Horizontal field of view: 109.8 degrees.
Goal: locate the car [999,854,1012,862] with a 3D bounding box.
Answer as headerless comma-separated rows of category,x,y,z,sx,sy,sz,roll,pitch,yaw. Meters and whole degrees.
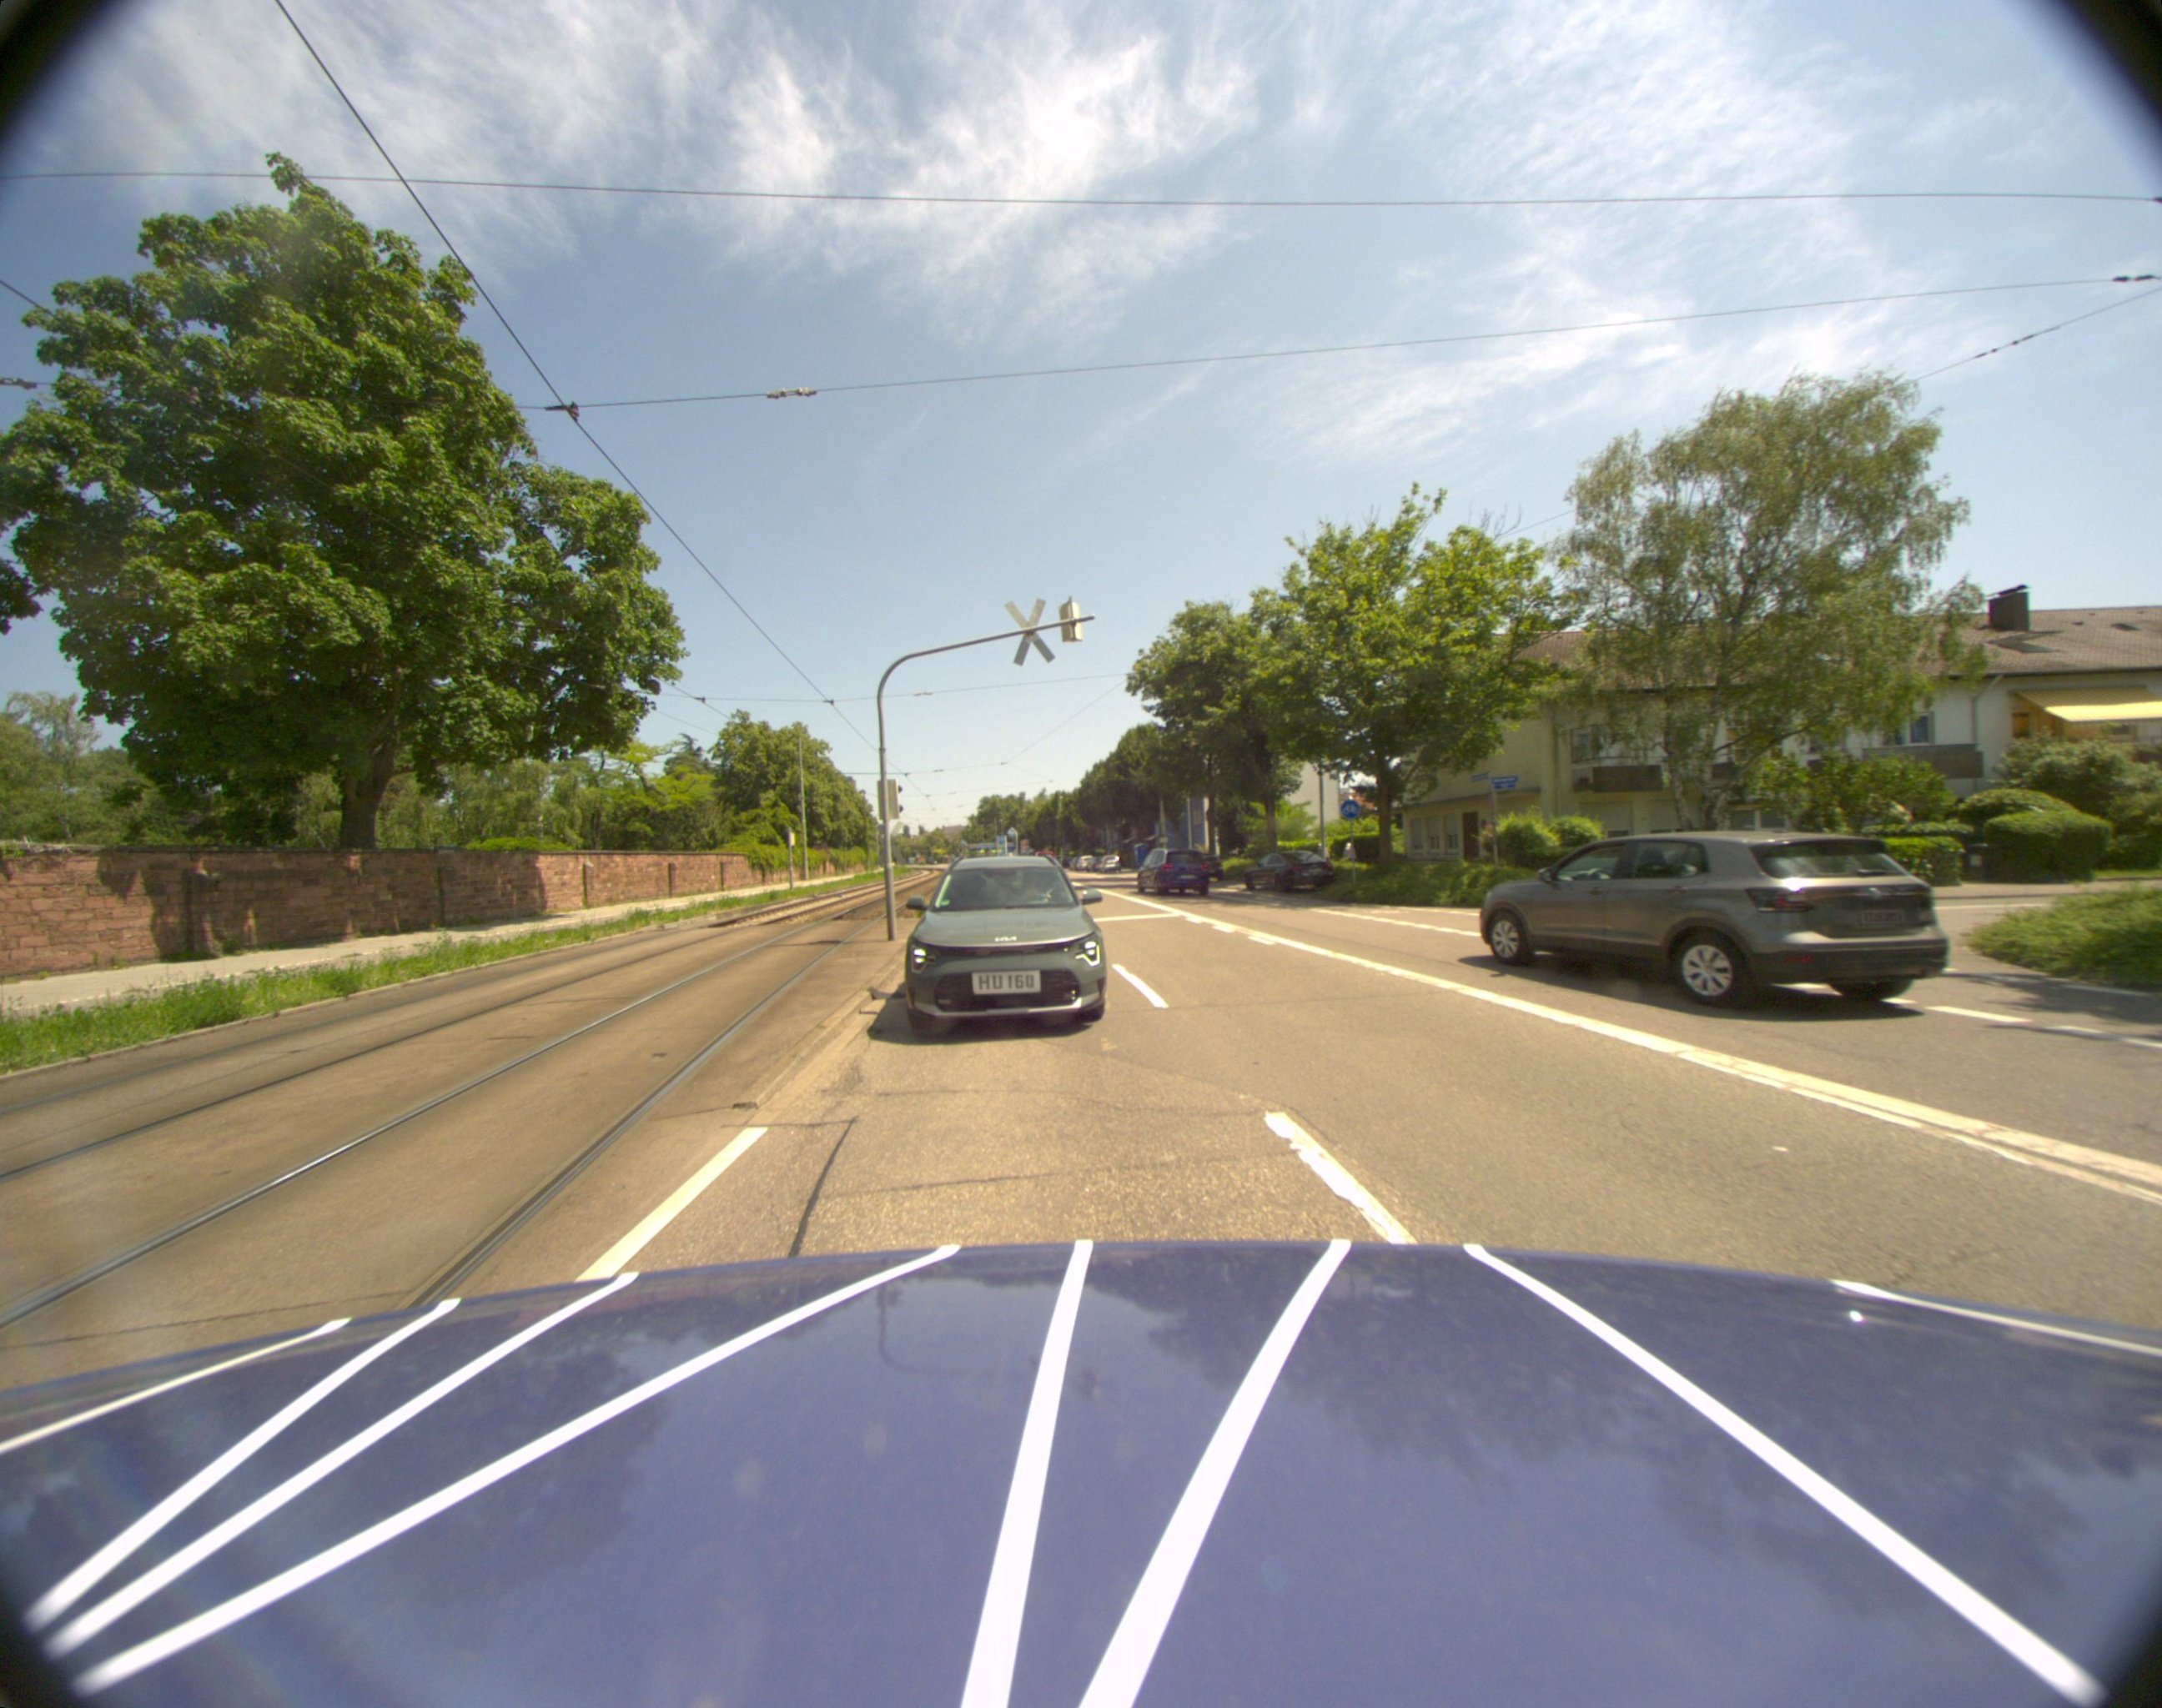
car,-15.648,0.815,157.023,1.867,1.487,3.466,-6,1,-16

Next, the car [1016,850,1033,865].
car,-7.450,0.404,100.116,1.924,1.899,4.567,-1,0,-8

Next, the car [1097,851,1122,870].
car,2.475,0.550,66.971,1.506,1.487,3.279,-6,1,-9

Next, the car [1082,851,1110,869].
car,1.405,0.574,72.087,1.681,1.487,4.635,-6,1,-9

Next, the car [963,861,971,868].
car,-31.383,2.885,208.866,1.866,1.487,3.467,-6,1,-9

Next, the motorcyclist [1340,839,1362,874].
motorcyclist,11.966,0.112,33.658,0.588,1.494,0.662,-5,1,-6

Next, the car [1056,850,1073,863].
car,-2.164,0.374,98.619,1.657,1.487,4.079,-6,1,-9

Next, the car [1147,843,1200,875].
car,5.400,0.293,44.948,1.977,1.679,4.684,-3,1,-6

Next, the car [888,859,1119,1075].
car,-0.906,0.910,8.306,1.760,1.574,4.423,-3,1,-8

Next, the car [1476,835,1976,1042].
car,6.067,0.642,7.810,1.743,1.566,3.710,-1,0,-8

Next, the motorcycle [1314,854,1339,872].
motorcycle,11.785,0.420,36.497,0.527,0.821,1.370,-5,1,-6

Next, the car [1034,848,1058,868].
car,-3.462,0.403,74.422,1.905,1.915,4.815,0,0,-9

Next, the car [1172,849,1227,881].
car,6.135,0.554,39.806,1.681,1.478,4.125,-3,1,-8

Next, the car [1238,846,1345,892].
car,7.704,0.522,28.360,1.900,1.448,4.805,-3,1,-10

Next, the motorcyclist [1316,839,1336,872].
motorcyclist,11.754,0.068,36.479,0.588,1.494,0.725,-5,1,-6

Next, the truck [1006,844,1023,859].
truck,-12.766,-0.415,145.597,2.136,2.566,4.857,-6,1,-16

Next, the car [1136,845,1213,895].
car,3.265,0.522,27.340,1.743,1.647,4.063,-1,0,-8

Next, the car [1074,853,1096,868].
car,0.434,0.689,81.927,1.657,1.487,3.646,-6,1,-9
